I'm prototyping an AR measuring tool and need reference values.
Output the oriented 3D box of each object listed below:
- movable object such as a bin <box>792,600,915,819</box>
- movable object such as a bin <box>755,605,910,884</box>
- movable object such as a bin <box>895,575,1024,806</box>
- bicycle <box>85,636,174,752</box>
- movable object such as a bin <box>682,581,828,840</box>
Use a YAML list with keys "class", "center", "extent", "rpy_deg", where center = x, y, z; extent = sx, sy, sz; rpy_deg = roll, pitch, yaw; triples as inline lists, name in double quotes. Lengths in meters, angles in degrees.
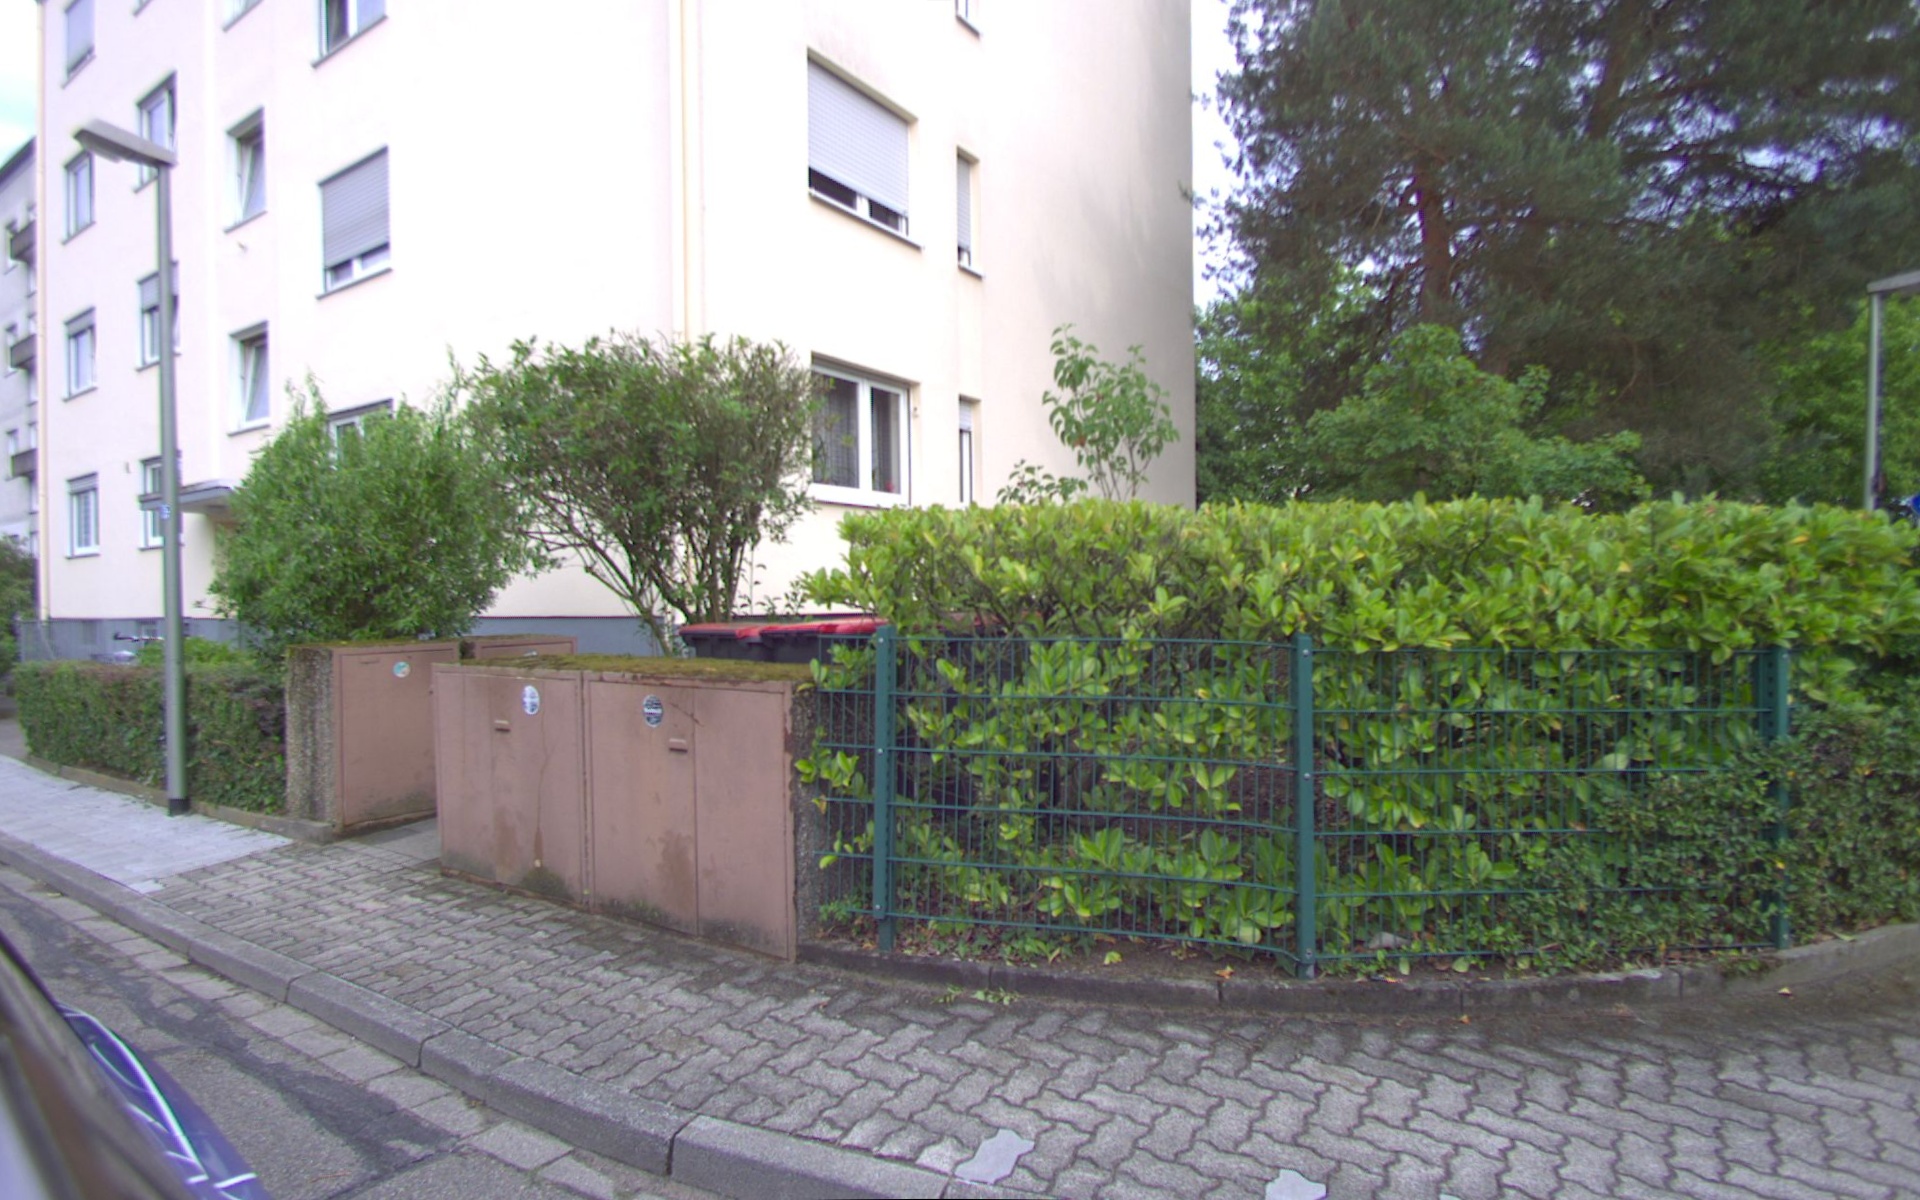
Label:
- class: "movable object such as a bin"
  center: [-0.614, 0.603, 5.881]
  extent: [0.514, 1.197, 0.501]
  rpy_deg: [-1, -2, 33]
- class: "movable object such as a bin"
  center: [-0.584, 0.625, 4.693]
  extent: [0.514, 1.197, 0.501]
  rpy_deg: [-1, -2, 33]
- class: "movable object such as a bin"
  center: [0.002, 0.467, 5.505]
  extent: [0.514, 1.174, 0.501]
  rpy_deg: [-1, -2, 33]
- class: "bicycle"
  center: [-8.427, 0.925, 10.256]
  extent: [1.415, 1.083, 0.315]
  rpy_deg: [-1, 1, 35]
- class: "movable object such as a bin"
  center: [-1.014, 0.519, 5.044]
  extent: [0.514, 1.197, 0.501]
  rpy_deg: [-1, -2, 33]
